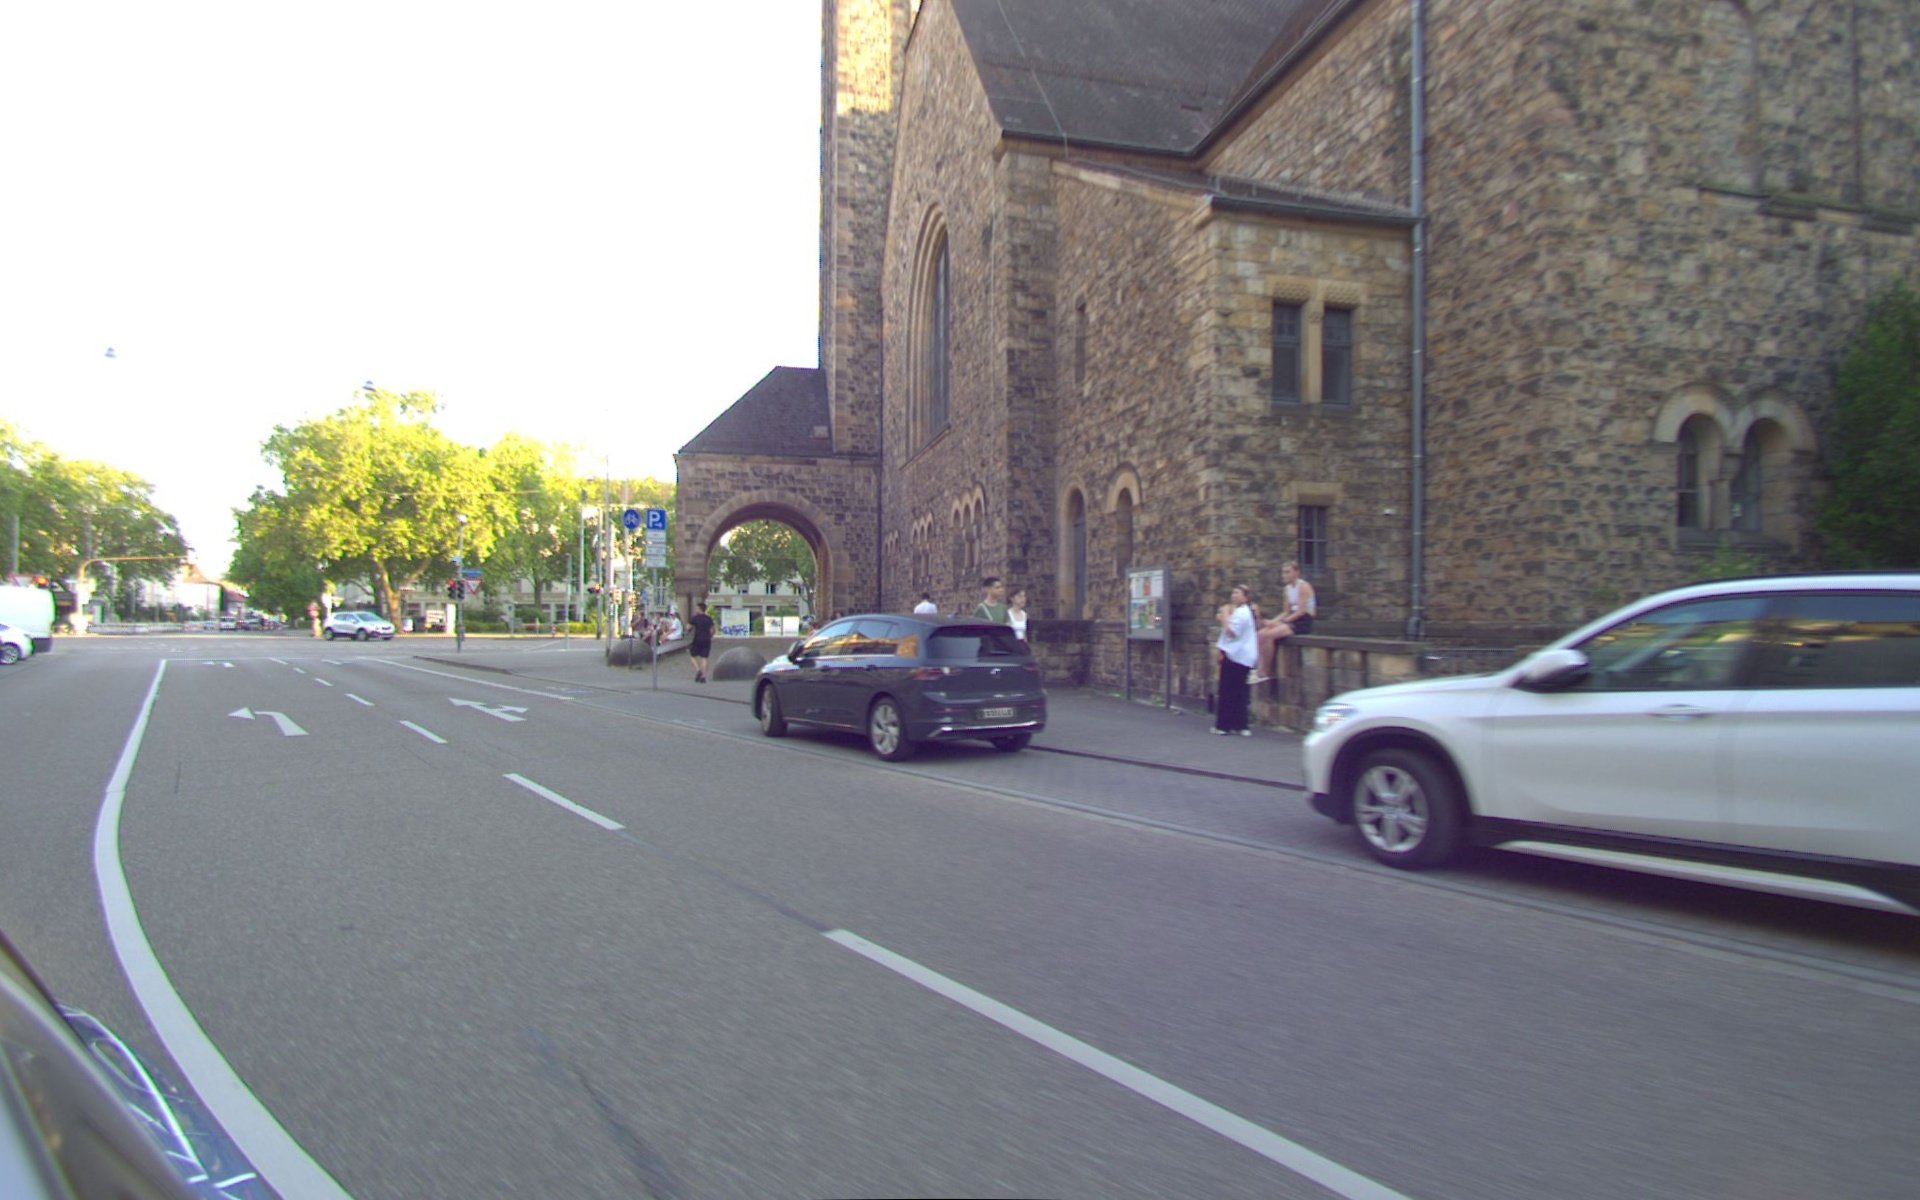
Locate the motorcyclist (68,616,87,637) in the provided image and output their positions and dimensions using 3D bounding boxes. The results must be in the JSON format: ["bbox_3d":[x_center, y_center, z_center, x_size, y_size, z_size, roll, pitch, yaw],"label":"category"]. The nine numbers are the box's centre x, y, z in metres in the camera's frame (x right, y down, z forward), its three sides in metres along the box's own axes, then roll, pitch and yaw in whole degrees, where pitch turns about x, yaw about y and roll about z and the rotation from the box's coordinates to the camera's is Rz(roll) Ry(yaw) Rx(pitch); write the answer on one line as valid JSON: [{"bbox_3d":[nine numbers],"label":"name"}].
[{"bbox_3d":[-64.768,1.955,74.274,0.620,1.531,0.822,-1,-2,27],"label":"motorcyclist"}]

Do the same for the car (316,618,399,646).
[{"bbox_3d":[-33.977,1.806,57.105,3.963,1.570,1.832,0,-2,16],"label":"car"}]

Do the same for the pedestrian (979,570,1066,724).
[{"bbox_3d":[0.783,0.582,12.817,0.565,1.870,0.990,1,-2,-41],"label":"pedestrian"}]

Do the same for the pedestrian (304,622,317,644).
[{"bbox_3d":[-50.756,2.576,79.126,0.734,1.641,0.662,0,-2,-21],"label":"pedestrian"}]

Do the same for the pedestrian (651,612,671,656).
[{"bbox_3d":[-9.686,1.094,32.795,0.540,1.417,0.459,0,-2,-3],"label":"pedestrian"}]

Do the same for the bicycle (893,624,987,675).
[{"bbox_3d":[-0.387,0.983,20.325,1.852,0.997,0.443,1,-2,-22],"label":"bicycle"}]

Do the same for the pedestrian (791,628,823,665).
[{"bbox_3d":[-4.244,1.282,28.053,0.691,0.999,0.558,0,-2,19],"label":"pedestrian"}]

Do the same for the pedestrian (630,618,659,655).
[{"bbox_3d":[-11.923,1.377,38.234,0.796,1.385,0.696,0,-2,14],"label":"pedestrian"}]

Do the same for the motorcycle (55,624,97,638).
[{"bbox_3d":[-64.826,2.268,74.244,0.620,0.929,2.264,-1,-1,27],"label":"motorcycle"}]

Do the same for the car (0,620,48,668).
[{"bbox_3d":[-30.349,1.291,30.211,1.981,1.464,4.235,1,-2,14],"label":"car"}]

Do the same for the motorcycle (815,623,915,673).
[{"bbox_3d":[-2.379,1.182,25.514,2.382,1.134,0.824,-1,-1,-34],"label":"motorcycle"}]

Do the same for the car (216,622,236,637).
[{"bbox_3d":[-99.136,3.930,136.692,1.960,1.971,4.607,1,-2,-35],"label":"car"}]

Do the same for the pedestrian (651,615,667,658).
[{"bbox_3d":[-10.030,1.224,33.717,0.396,1.417,0.548,0,-2,-3],"label":"pedestrian"}]

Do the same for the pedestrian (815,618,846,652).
[{"bbox_3d":[-4.133,1.107,32.255,0.822,1.084,0.645,0,-2,13],"label":"pedestrian"}]

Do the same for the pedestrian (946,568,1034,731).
[{"bbox_3d":[0.358,0.587,12.352,0.638,1.893,0.892,1,-2,-41],"label":"pedestrian"}]

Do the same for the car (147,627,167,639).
[{"bbox_3d":[-108.929,4.495,137.257,1.766,1.592,4.010,1,-2,-34],"label":"car"}]

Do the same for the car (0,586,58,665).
[{"bbox_3d":[-32.562,0.727,31.959,2.173,2.571,5.863,2,-2,11],"label":"car"}]

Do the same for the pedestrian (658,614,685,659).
[{"bbox_3d":[-9.217,1.176,32.378,0.693,1.417,0.632,0,-2,-3],"label":"pedestrian"}]

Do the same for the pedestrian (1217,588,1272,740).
[{"bbox_3d":[3.126,0.690,11.154,0.543,1.634,0.413,0,-1,13],"label":"pedestrian"}]

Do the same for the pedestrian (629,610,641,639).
[{"bbox_3d":[-21.029,1.613,65.504,0.699,1.861,1.163,1,-2,-18],"label":"pedestrian"}]

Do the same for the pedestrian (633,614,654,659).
[{"bbox_3d":[-10.506,1.202,33.609,0.542,1.464,0.558,0,-2,-3],"label":"pedestrian"}]

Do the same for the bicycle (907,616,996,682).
[{"bbox_3d":[-0.160,0.941,19.769,1.703,1.258,0.438,1,-2,-23],"label":"bicycle"}]

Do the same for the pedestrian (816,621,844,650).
[{"bbox_3d":[-4.217,1.155,32.958,0.733,0.923,0.645,0,-2,13],"label":"pedestrian"}]

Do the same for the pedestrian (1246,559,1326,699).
[{"bbox_3d":[3.736,0.329,11.609,0.641,1.557,0.587,0,-1,-14],"label":"pedestrian"}]

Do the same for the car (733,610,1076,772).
[{"bbox_3d":[-0.822,0.863,11.301,1.759,1.446,4.325,1,-2,-36],"label":"car"}]

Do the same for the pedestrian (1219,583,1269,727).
[{"bbox_3d":[3.409,0.653,12.186,0.543,1.687,0.413,0,-1,13],"label":"pedestrian"}]

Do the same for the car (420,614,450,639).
[{"bbox_3d":[-42.827,2.180,82.654,1.836,2.029,3.823,1,-2,-23],"label":"car"}]

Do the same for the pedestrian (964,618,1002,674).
[{"bbox_3d":[0.442,0.866,19.331,0.517,1.056,0.733,-1,-1,22],"label":"pedestrian"}]

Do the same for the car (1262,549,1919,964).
[{"bbox_3d":[3.979,0.633,5.064,1.847,1.604,4.477,1,-2,-39],"label":"car"}]

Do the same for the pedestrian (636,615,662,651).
[{"bbox_3d":[-12.008,1.269,39.064,0.791,1.385,0.700,0,-2,-4],"label":"pedestrian"}]

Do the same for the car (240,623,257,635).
[{"bbox_3d":[-98.016,3.931,139.422,1.798,1.586,4.011,1,-1,-33],"label":"car"}]

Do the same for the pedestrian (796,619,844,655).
[{"bbox_3d":[-4.375,1.138,31.598,1.320,1.102,0.682,0,-2,13],"label":"pedestrian"}]

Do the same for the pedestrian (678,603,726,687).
[{"bbox_3d":[-5.527,0.952,21.677,0.692,1.738,0.706,-1,-2,43],"label":"pedestrian"}]

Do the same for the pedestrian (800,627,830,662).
[{"bbox_3d":[-4.108,1.257,28.643,0.644,0.975,0.558,0,-2,19],"label":"pedestrian"}]
